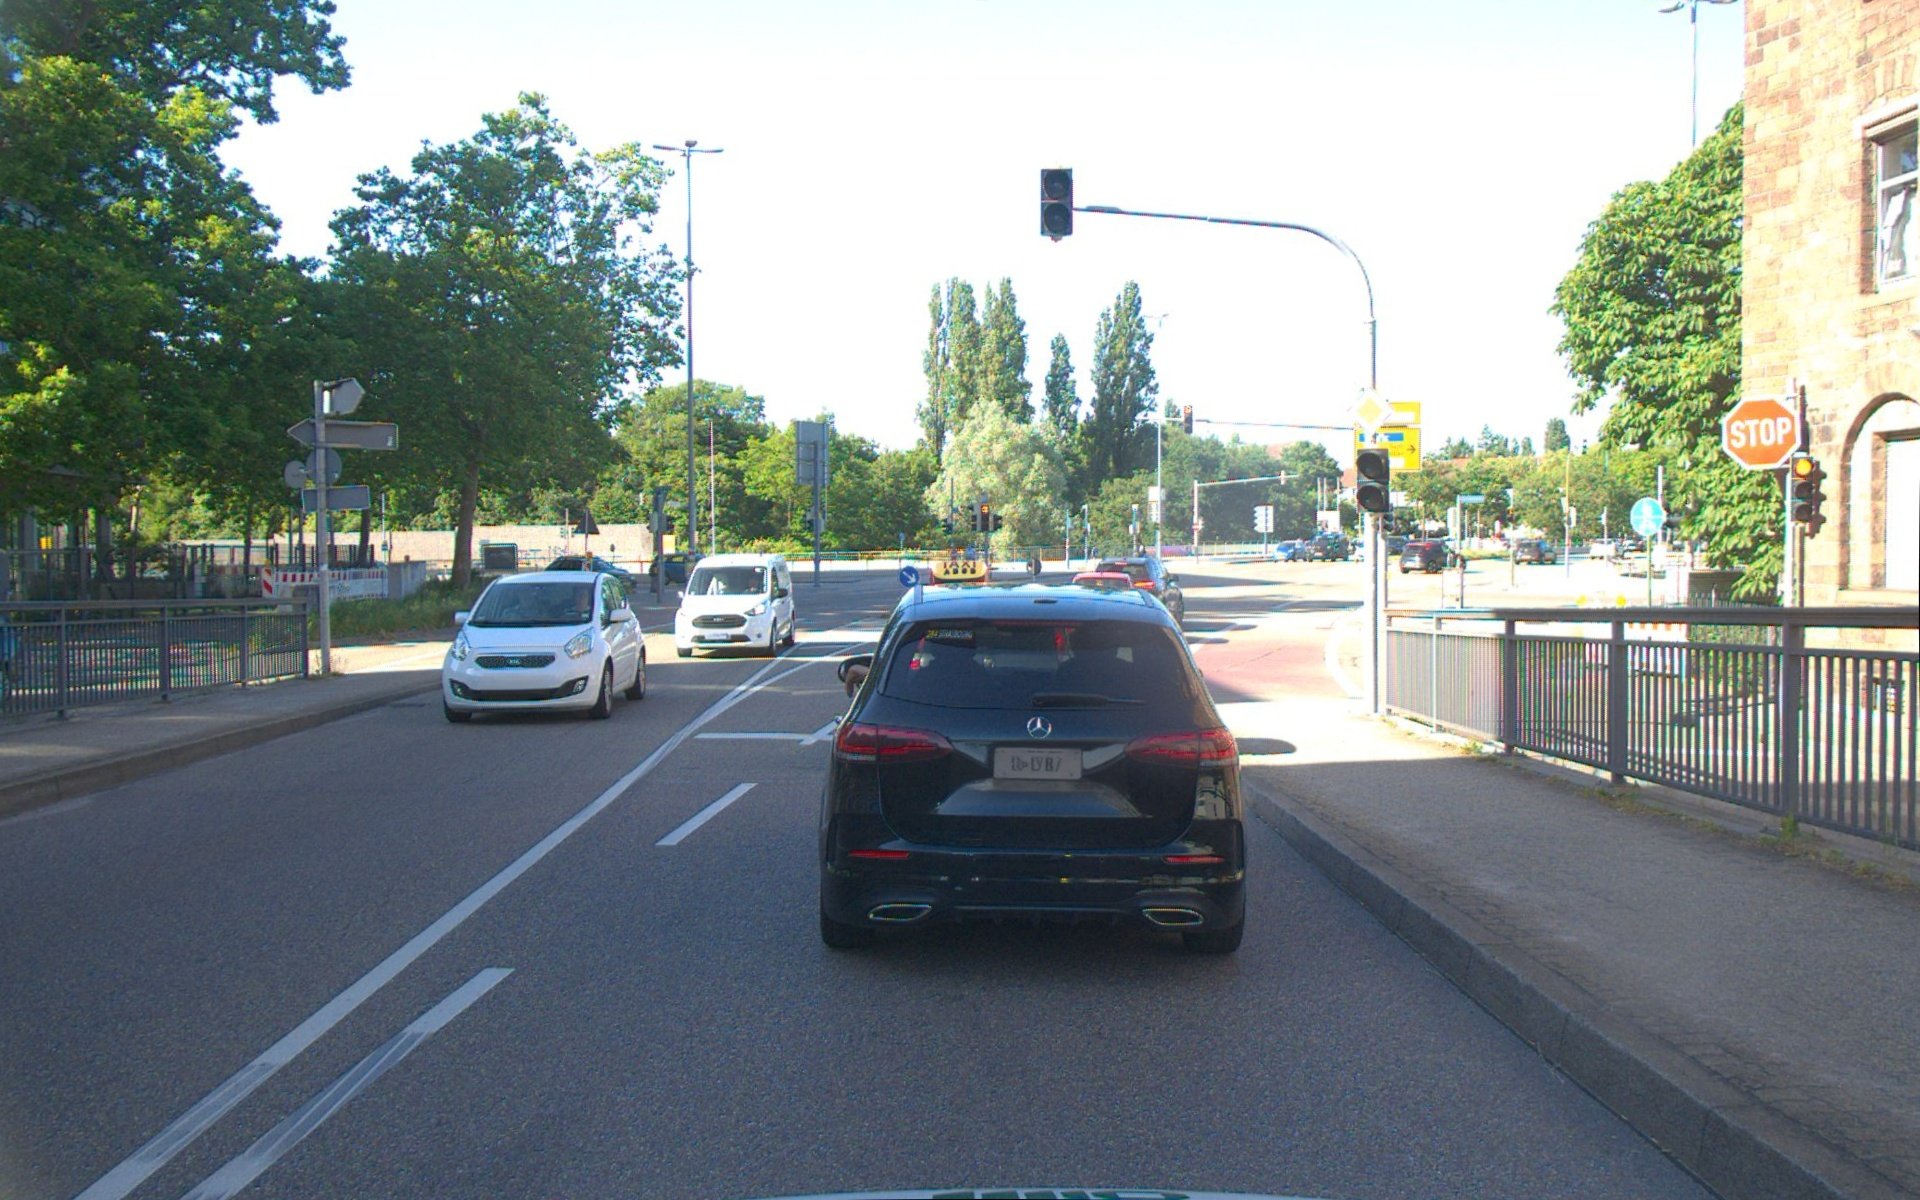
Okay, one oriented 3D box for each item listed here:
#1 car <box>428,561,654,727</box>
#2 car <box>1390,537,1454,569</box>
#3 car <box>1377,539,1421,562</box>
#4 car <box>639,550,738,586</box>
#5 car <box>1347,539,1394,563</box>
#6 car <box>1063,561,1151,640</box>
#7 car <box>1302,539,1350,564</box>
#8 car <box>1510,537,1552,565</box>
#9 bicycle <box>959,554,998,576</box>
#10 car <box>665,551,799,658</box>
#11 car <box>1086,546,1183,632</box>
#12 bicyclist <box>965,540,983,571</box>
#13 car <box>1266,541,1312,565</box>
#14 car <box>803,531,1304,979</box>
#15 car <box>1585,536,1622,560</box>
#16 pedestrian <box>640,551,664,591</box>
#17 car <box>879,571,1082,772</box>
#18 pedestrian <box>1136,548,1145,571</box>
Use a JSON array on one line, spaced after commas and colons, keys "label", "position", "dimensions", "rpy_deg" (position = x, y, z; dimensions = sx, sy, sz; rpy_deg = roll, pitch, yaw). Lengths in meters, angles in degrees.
[{"label": "car", "position": [-4.718, 0.405, 19.186], "dimensions": [1.742, 1.663, 3.998], "rpy_deg": [-2, 2, -3]}, {"label": "car", "position": [24.668, -2.489, 88.189], "dimensions": [1.856, 1.658, 3.980], "rpy_deg": [0, 2, 40]}, {"label": "car", "position": [31.212, -3.512, 117.610], "dimensions": [1.846, 1.605, 3.988], "rpy_deg": [0, 2, 34]}, {"label": "car", "position": [-12.953, -1.536, 78.966], "dimensions": [4.306, 1.658, 1.891], "rpy_deg": [0, 1, 20]}, {"label": "car", "position": [27.882, -3.327, 112.353], "dimensions": [1.846, 1.605, 3.988], "rpy_deg": [0, 2, 34]}, {"label": "car", "position": [3.269, -0.025, 36.355], "dimensions": [1.685, 1.548, 3.490], "rpy_deg": [0, 3, 9]}, {"label": "car", "position": [25.215, -3.351, 113.877], "dimensions": [1.846, 1.605, 3.988], "rpy_deg": [0, 2, 34]}, {"label": "car", "position": [35.497, -3.046, 102.776], "dimensions": [1.848, 1.658, 3.995], "rpy_deg": [0, 1, 28]}, {"label": "bicycle", "position": [0.954, -1.810, 85.116], "dimensions": [1.948, 1.068, 0.526], "rpy_deg": [-2, 1, -12]}, {"label": "car", "position": [-4.230, -0.002, 31.435], "dimensions": [1.879, 1.825, 4.899], "rpy_deg": [-2, 2, -1]}, {"label": "car", "position": [4.465, -0.325, 41.856], "dimensions": [1.685, 1.842, 4.303], "rpy_deg": [0, 5, 16]}, {"label": "bicyclist", "position": [0.725, -2.268, 85.048], "dimensions": [0.790, 1.578, 0.526], "rpy_deg": [-2, 1, -11]}, {"label": "car", "position": [23.420, -3.348, 117.638], "dimensions": [1.846, 1.605, 3.988], "rpy_deg": [0, 2, 34]}, {"label": "car", "position": [0.294, 0.555, 8.119], "dimensions": [1.840, 1.641, 3.999], "rpy_deg": [1, 1, -2]}, {"label": "car", "position": [45.273, -3.669, 116.344], "dimensions": [1.849, 1.658, 3.993], "rpy_deg": [0, 1, 30]}, {"label": "pedestrian", "position": [-12.008, -1.130, 64.447], "dimensions": [0.690, 1.552, 0.744], "rpy_deg": [1, 1, 9]}, {"label": "car", "position": [0.184, 0.548, 15.081], "dimensions": [1.606, 1.556, 3.474], "rpy_deg": [-1, 1, 1]}, {"label": "pedestrian", "position": [13.067, -2.936, 119.928], "dimensions": [0.443, 1.613, 0.499], "rpy_deg": [0, 1, 39]}]
